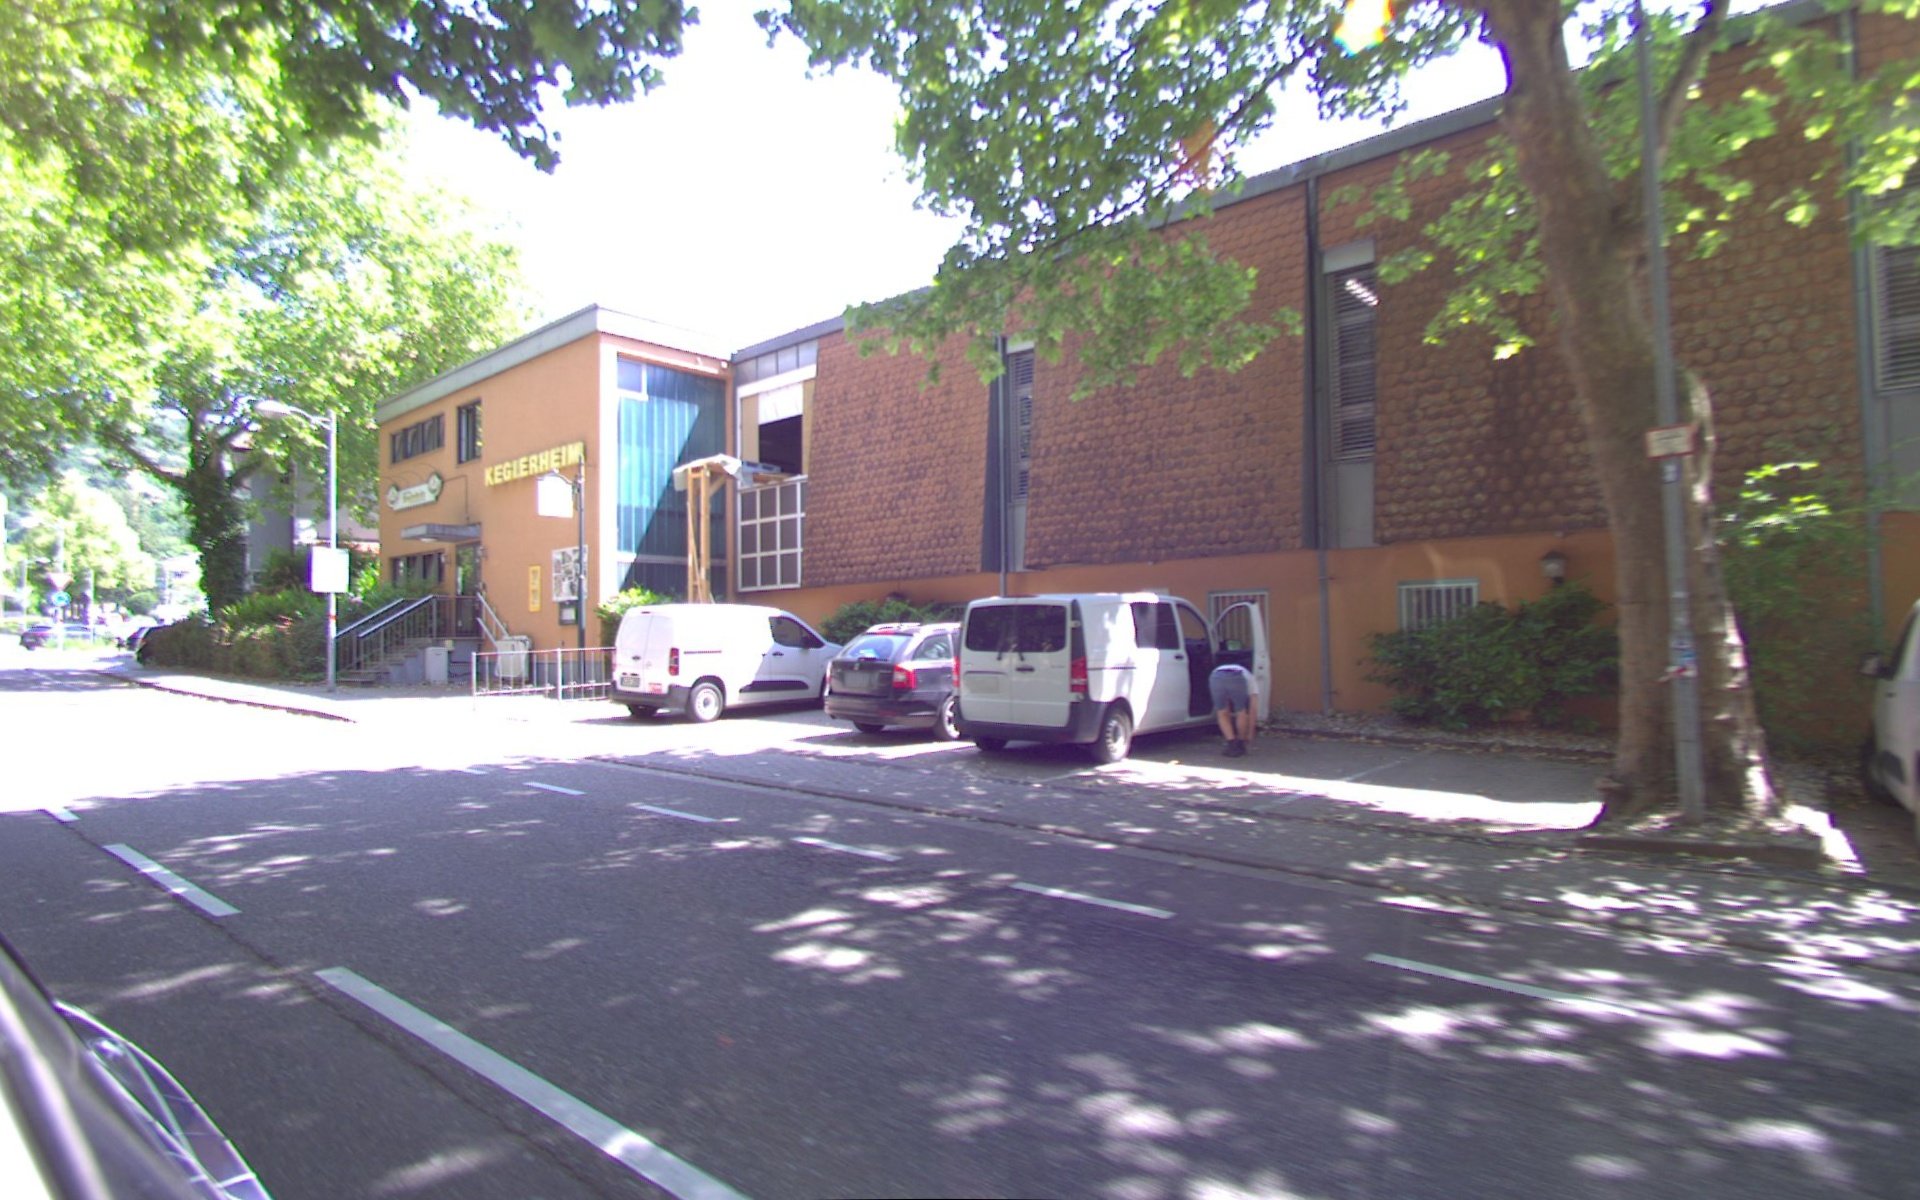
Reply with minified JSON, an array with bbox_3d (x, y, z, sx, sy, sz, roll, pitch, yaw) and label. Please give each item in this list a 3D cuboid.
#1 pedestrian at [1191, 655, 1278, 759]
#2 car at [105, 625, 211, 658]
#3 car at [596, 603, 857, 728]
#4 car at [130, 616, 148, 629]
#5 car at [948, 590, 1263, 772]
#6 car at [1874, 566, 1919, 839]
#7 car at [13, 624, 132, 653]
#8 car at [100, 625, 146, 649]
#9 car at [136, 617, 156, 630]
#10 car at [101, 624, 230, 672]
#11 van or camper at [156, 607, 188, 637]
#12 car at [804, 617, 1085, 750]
[{"bbox_3d":[3.083,1.177,11.355,0.691,1.089,0.759,-2,-3,41],"label":"pedestrian"},{"bbox_3d":[-36.971,1.920,46.752,3.732,1.471,1.727,3,-3,-39],"label":"car"},{"bbox_3d":[-3.744,0.967,16.783,1.866,1.806,3.949,-1,-1,38],"label":"car"},{"bbox_3d":[-116.756,3.216,143.920,1.968,1.679,4.007,2,-2,-40],"label":"car"},{"bbox_3d":[1.962,0.822,12.439,1.901,1.818,4.381,-1,-1,38],"label":"car"},{"bbox_3d":[7.538,0.675,6.686,1.901,1.818,4.089,-1,-1,38],"label":"car"},{"bbox_3d":[-44.937,1.965,51.307,1.775,1.437,4.329,-1,-3,43],"label":"car"},{"bbox_3d":[-52.399,2.292,63.357,3.999,1.463,1.586,-1,-3,42],"label":"car"},{"bbox_3d":[-109.583,3.144,136.184,1.968,1.679,4.007,2,-2,-40],"label":"car"},{"bbox_3d":[-27.018,1.613,34.508,3.338,1.558,1.727,2,-3,-39],"label":"car"},{"bbox_3d":[-73.633,2.016,94.506,2.238,2.658,5.897,-1,0,-38],"label":"van or camper"},{"bbox_3d":[-0.080,1.019,14.097,1.866,1.527,3.949,-1,-1,38],"label":"car"}]
